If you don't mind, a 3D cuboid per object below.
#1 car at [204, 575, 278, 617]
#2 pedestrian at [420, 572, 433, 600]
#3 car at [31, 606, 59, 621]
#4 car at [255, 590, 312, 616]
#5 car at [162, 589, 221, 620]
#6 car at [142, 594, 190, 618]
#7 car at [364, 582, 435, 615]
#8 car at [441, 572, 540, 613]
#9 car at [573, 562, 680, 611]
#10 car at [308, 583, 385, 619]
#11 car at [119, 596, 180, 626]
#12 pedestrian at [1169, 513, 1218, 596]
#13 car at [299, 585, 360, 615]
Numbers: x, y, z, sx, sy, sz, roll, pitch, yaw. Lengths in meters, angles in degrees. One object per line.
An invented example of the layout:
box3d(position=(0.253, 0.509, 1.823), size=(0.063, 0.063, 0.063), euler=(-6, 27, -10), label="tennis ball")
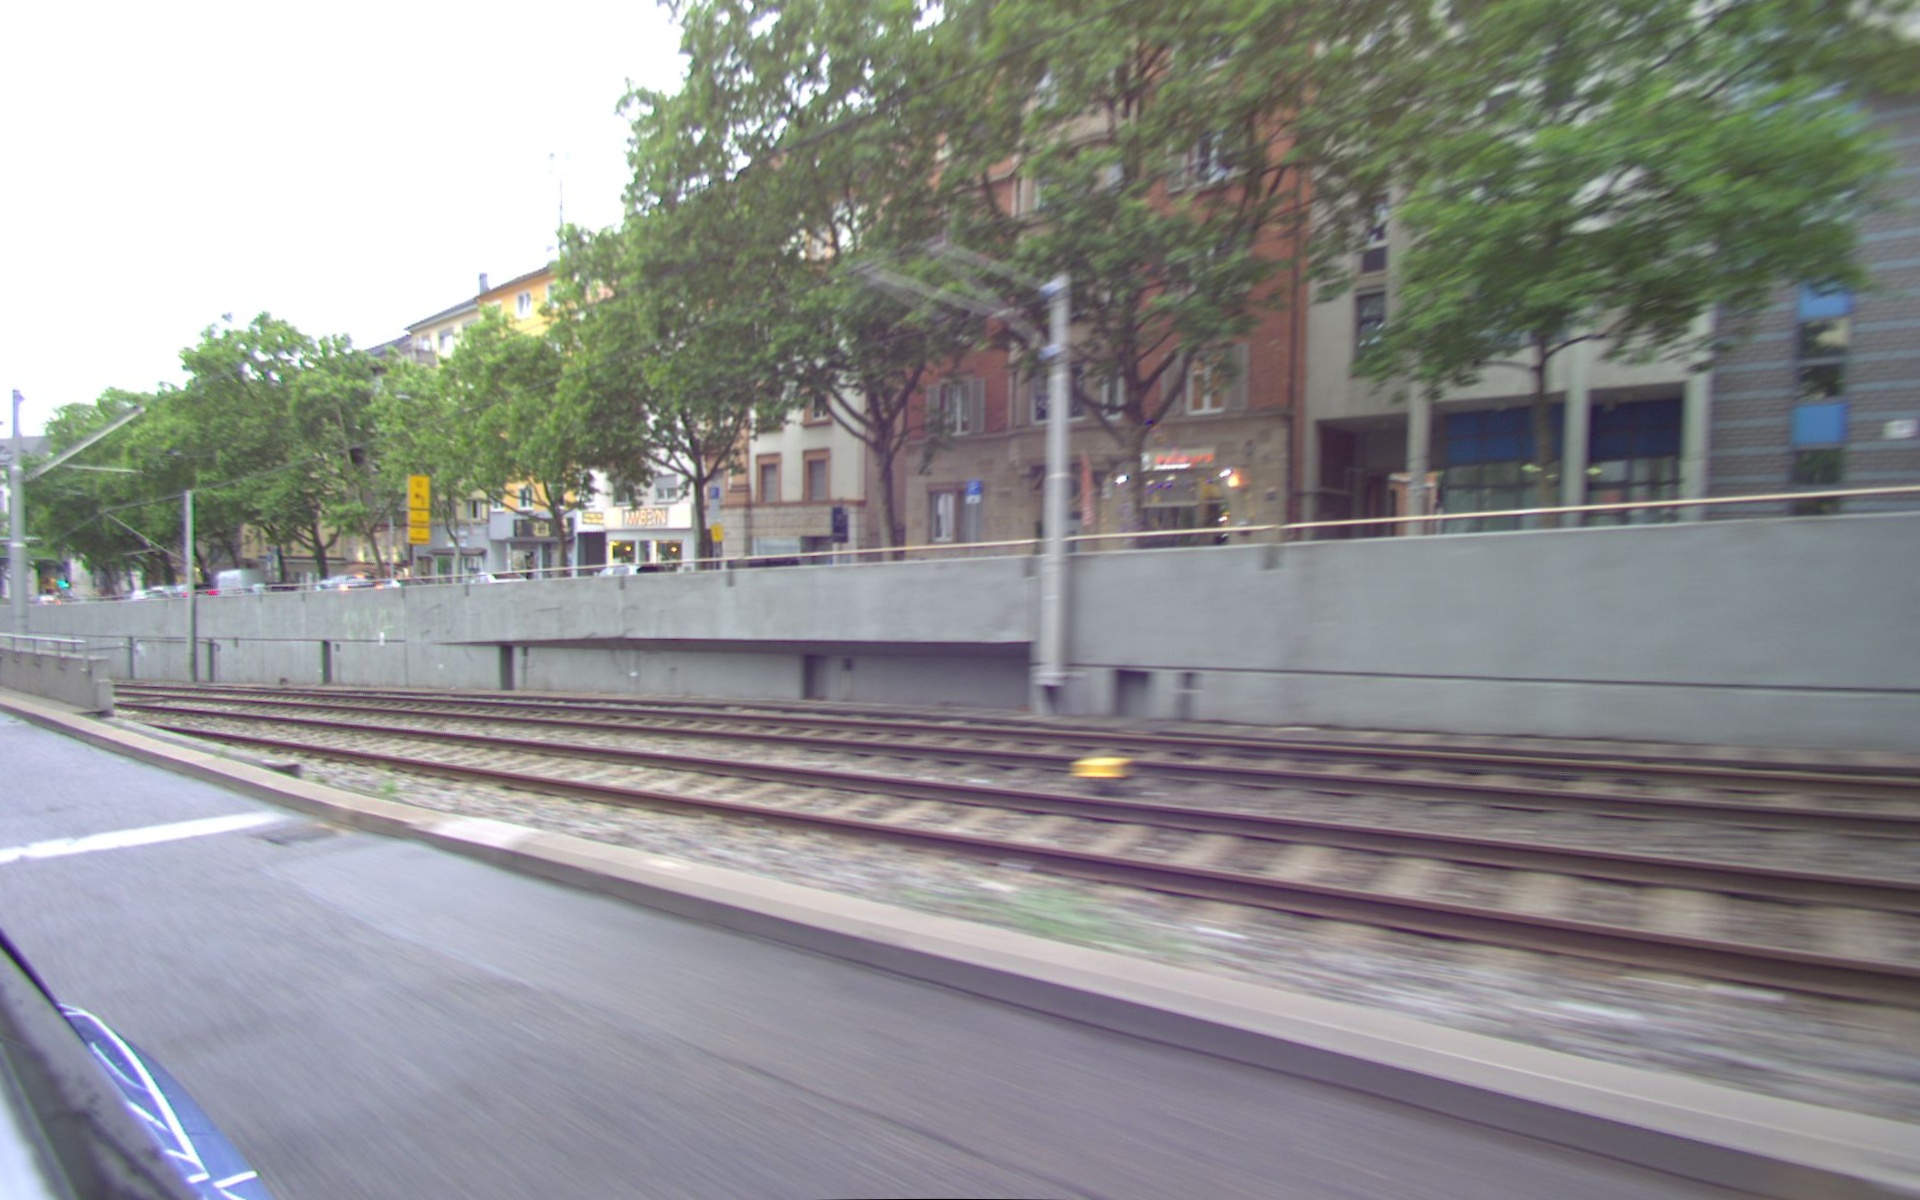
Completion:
box3d(position=(-50.202, -0.260, 70.571), size=(6.925, 2.682, 2.428), euler=(-1, 2, 40), label="car")
box3d(position=(-35.156, -0.915, 66.698), size=(0.517, 1.760, 0.622), euler=(-7, 5, -43), label="pedestrian")
box3d(position=(-101.711, 1.483, 112.484), size=(4.016, 1.521, 1.827), euler=(-1, 3, 42), label="car")
box3d(position=(-44.031, 0.180, 65.806), size=(4.668, 1.521, 1.777), euler=(-1, 2, 40), label="car")
box3d(position=(-49.481, 0.299, 65.115), size=(4.964, 1.866, 1.937), euler=(-1, 2, 41), label="car")
box3d(position=(-66.694, 0.504, 84.997), size=(4.890, 1.777, 1.861), euler=(-1, 2, 36), label="car")
box3d(position=(-28.855, -0.046, 52.054), size=(4.204, 1.521, 1.776), euler=(-1, 2, 40), label="car")
box3d(position=(-20.971, -0.317, 45.105), size=(5.194, 1.613, 1.908), euler=(-1, 2, 40), label="car")
box3d(position=(-12.432, -0.500, 37.627), size=(4.107, 1.623, 1.777), euler=(-1, 2, 39), label="car")
box3d(position=(-28.507, 0.059, 46.970), size=(4.104, 1.521, 1.777), euler=(-1, 2, 40), label="car")
box3d(position=(-46.518, 0.638, 58.049), size=(3.994, 1.521, 1.778), euler=(-1, 2, 38), label="car")
box3d(position=(5.837, -1.136, 25.308), size=(0.934, 2.028, 0.662), euler=(0, 4, 42), label="pedestrian")
box3d(position=(-37.011, 0.009, 59.363), size=(4.204, 1.582, 1.776), euler=(-1, 2, 40), label="car")
